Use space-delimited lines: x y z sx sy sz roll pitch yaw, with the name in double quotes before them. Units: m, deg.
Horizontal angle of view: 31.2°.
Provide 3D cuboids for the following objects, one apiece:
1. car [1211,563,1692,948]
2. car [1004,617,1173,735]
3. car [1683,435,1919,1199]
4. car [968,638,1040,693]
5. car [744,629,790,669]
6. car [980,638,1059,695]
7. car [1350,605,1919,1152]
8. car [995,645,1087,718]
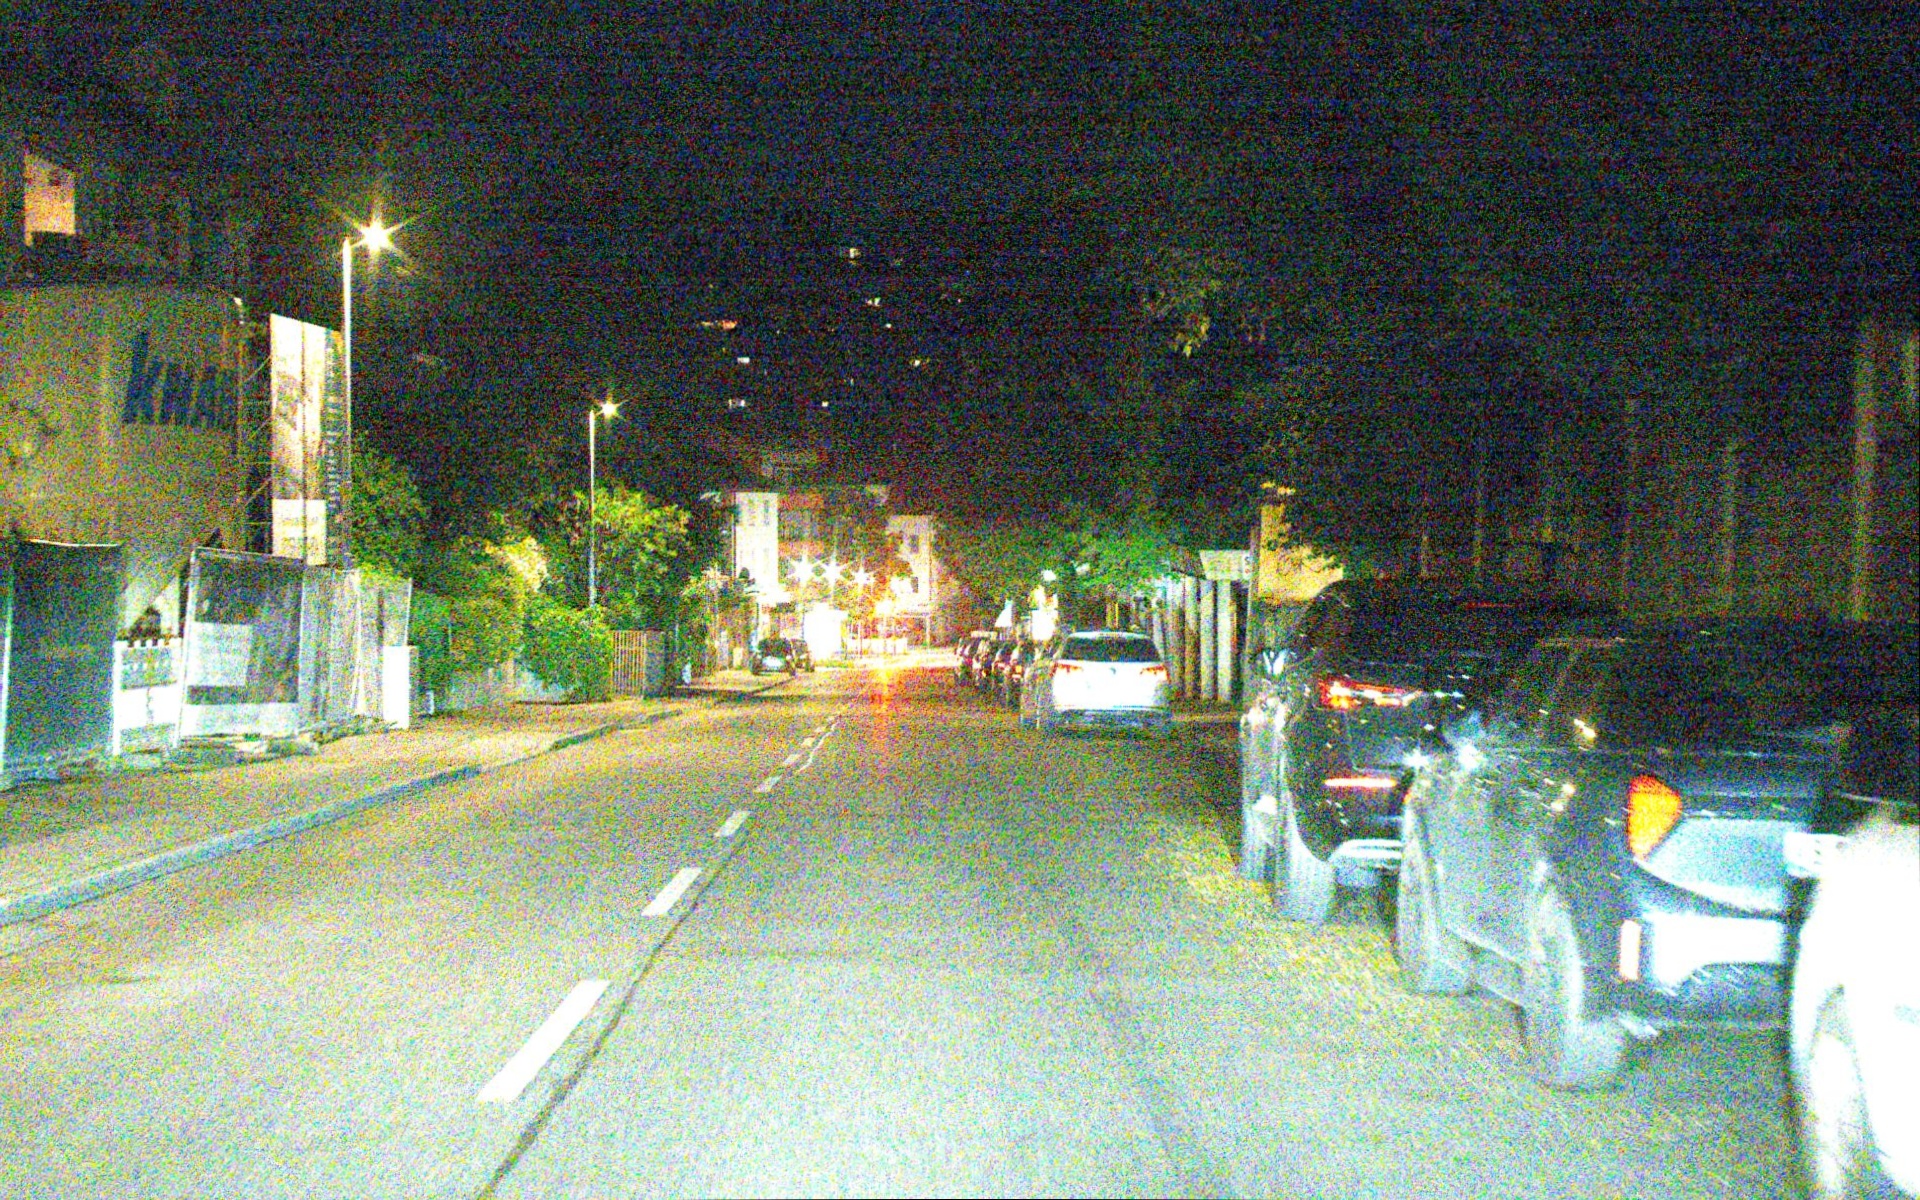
"car" 2.319 0.701 17.359 1.832 1.658 4.618 1 -1 1
"car" 1.710 1.007 46.935 1.763 1.471 4.276 2 -1 -4
"car" 2.706 0.583 6.243 1.718 1.755 4.758 2 1 0
"car" 1.182 1.784 94.733 1.682 1.444 4.000 2 -1 -3
"car" -7.686 1.951 136.701 1.753 1.534 3.731 0 -1 -4
"car" 1.582 1.734 89.889 1.868 1.398 3.999 2 -1 3
"car" 2.520 0.795 11.736 1.743 1.466 4.257 2 0 -1
"car" 1.635 1.648 70.544 1.629 1.434 3.864 1 -1 -2
